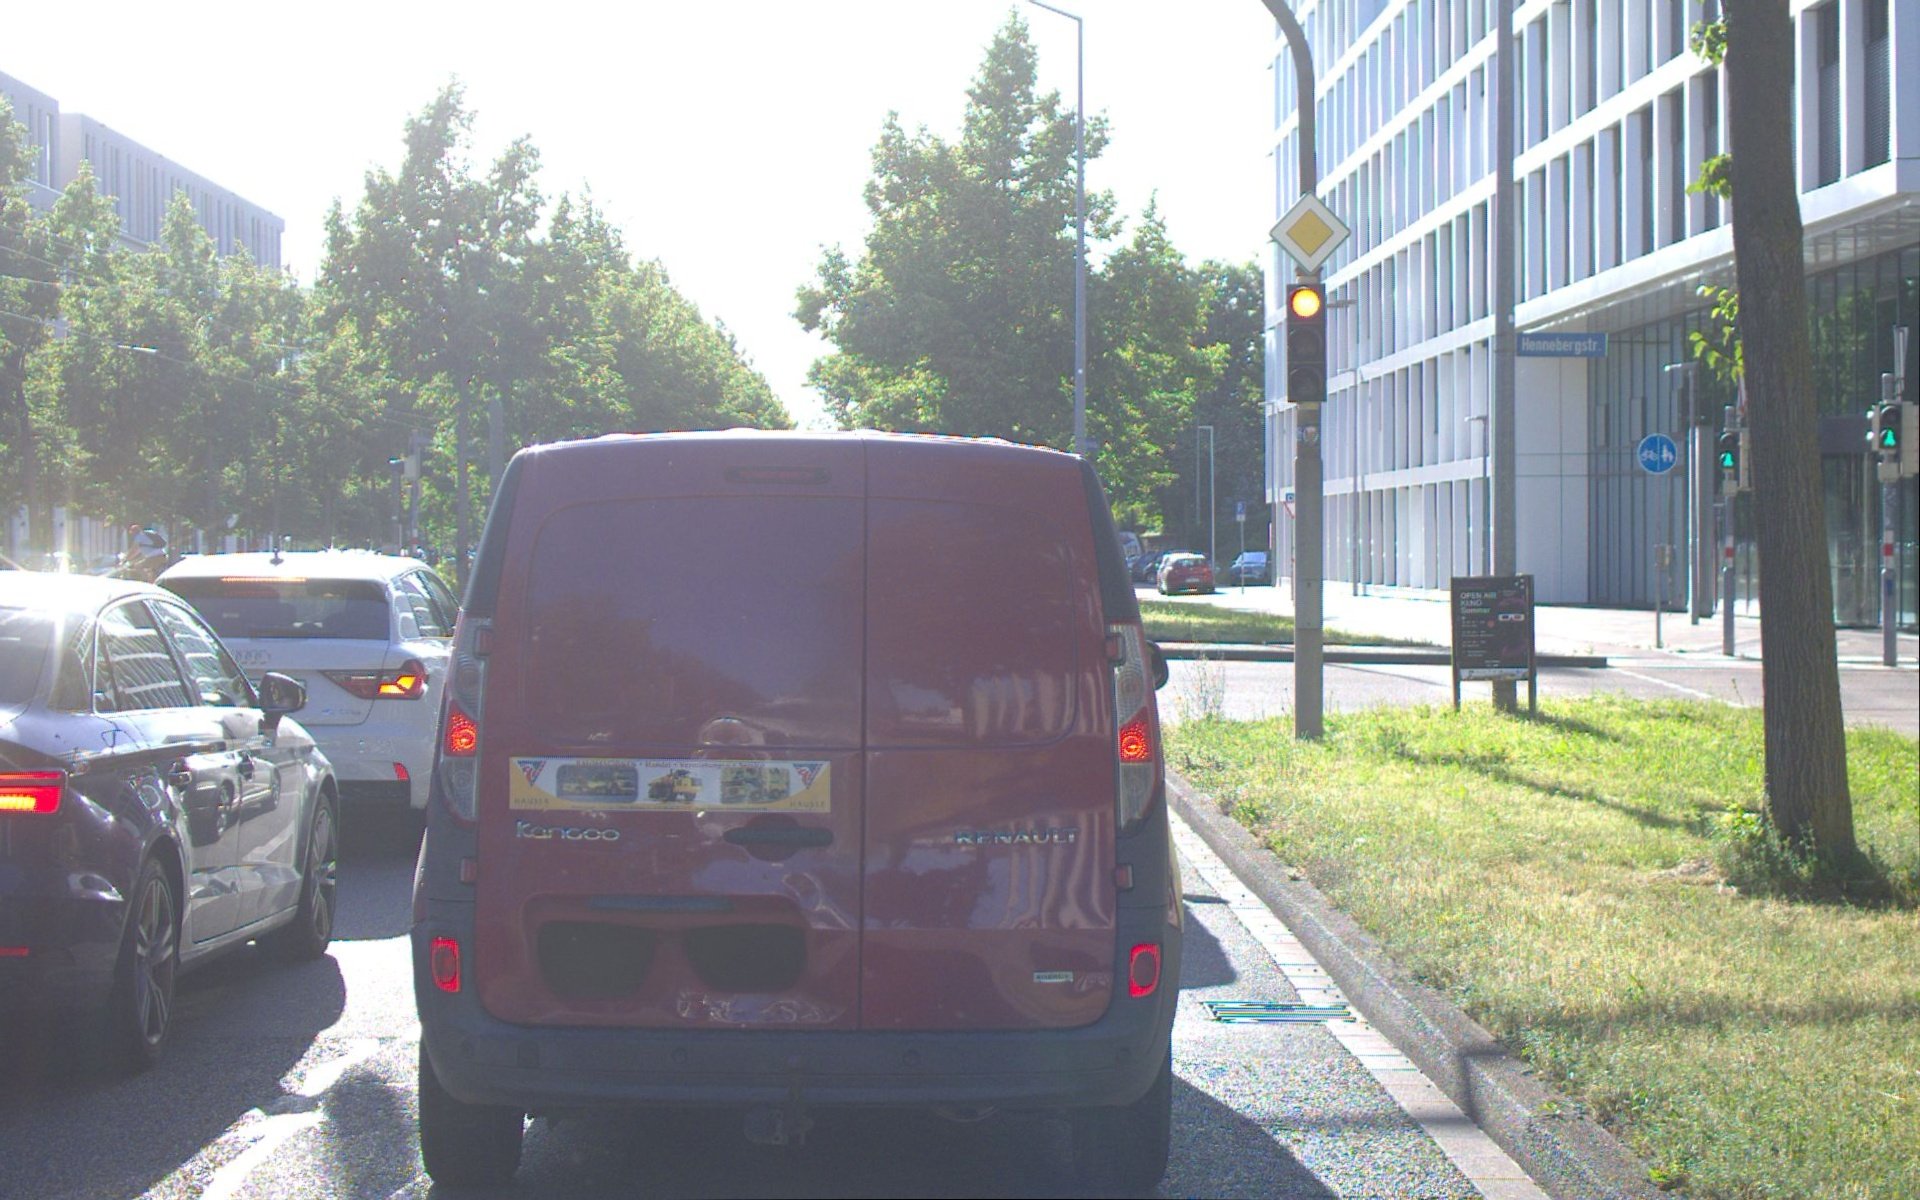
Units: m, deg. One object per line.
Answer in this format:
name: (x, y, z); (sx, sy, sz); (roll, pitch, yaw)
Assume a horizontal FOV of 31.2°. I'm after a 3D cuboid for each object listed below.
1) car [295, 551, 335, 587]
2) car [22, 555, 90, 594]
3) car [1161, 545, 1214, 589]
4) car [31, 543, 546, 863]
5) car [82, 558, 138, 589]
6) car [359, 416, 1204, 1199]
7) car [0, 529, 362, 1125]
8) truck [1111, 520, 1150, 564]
car: (-37.321, -1.791, 198.985); (1.728, 2.007, 4.001); (0, 1, -3)
car: (-35.890, -1.039, 136.579); (1.776, 1.523, 3.806); (0, 1, -1)
car: (8.452, -1.241, 127.877); (1.758, 1.606, 3.903); (0, 1, 1)
car: (-3.266, 0.429, 17.515); (1.808, 1.430, 4.113); (0, 1, 0)
car: (-36.883, -1.161, 149.164); (1.580, 1.337, 3.712); (0, 1, -1)
car: (-0.378, 0.461, 9.423); (1.808, 1.788, 4.113); (0, 1, 0)
car: (-3.152, 0.541, 10.829); (1.808, 1.522, 4.113); (0, 1, 0)
truck: (9.856, -3.341, 199.007); (1.831, 2.492, 5.933); (0, 1, -1)
